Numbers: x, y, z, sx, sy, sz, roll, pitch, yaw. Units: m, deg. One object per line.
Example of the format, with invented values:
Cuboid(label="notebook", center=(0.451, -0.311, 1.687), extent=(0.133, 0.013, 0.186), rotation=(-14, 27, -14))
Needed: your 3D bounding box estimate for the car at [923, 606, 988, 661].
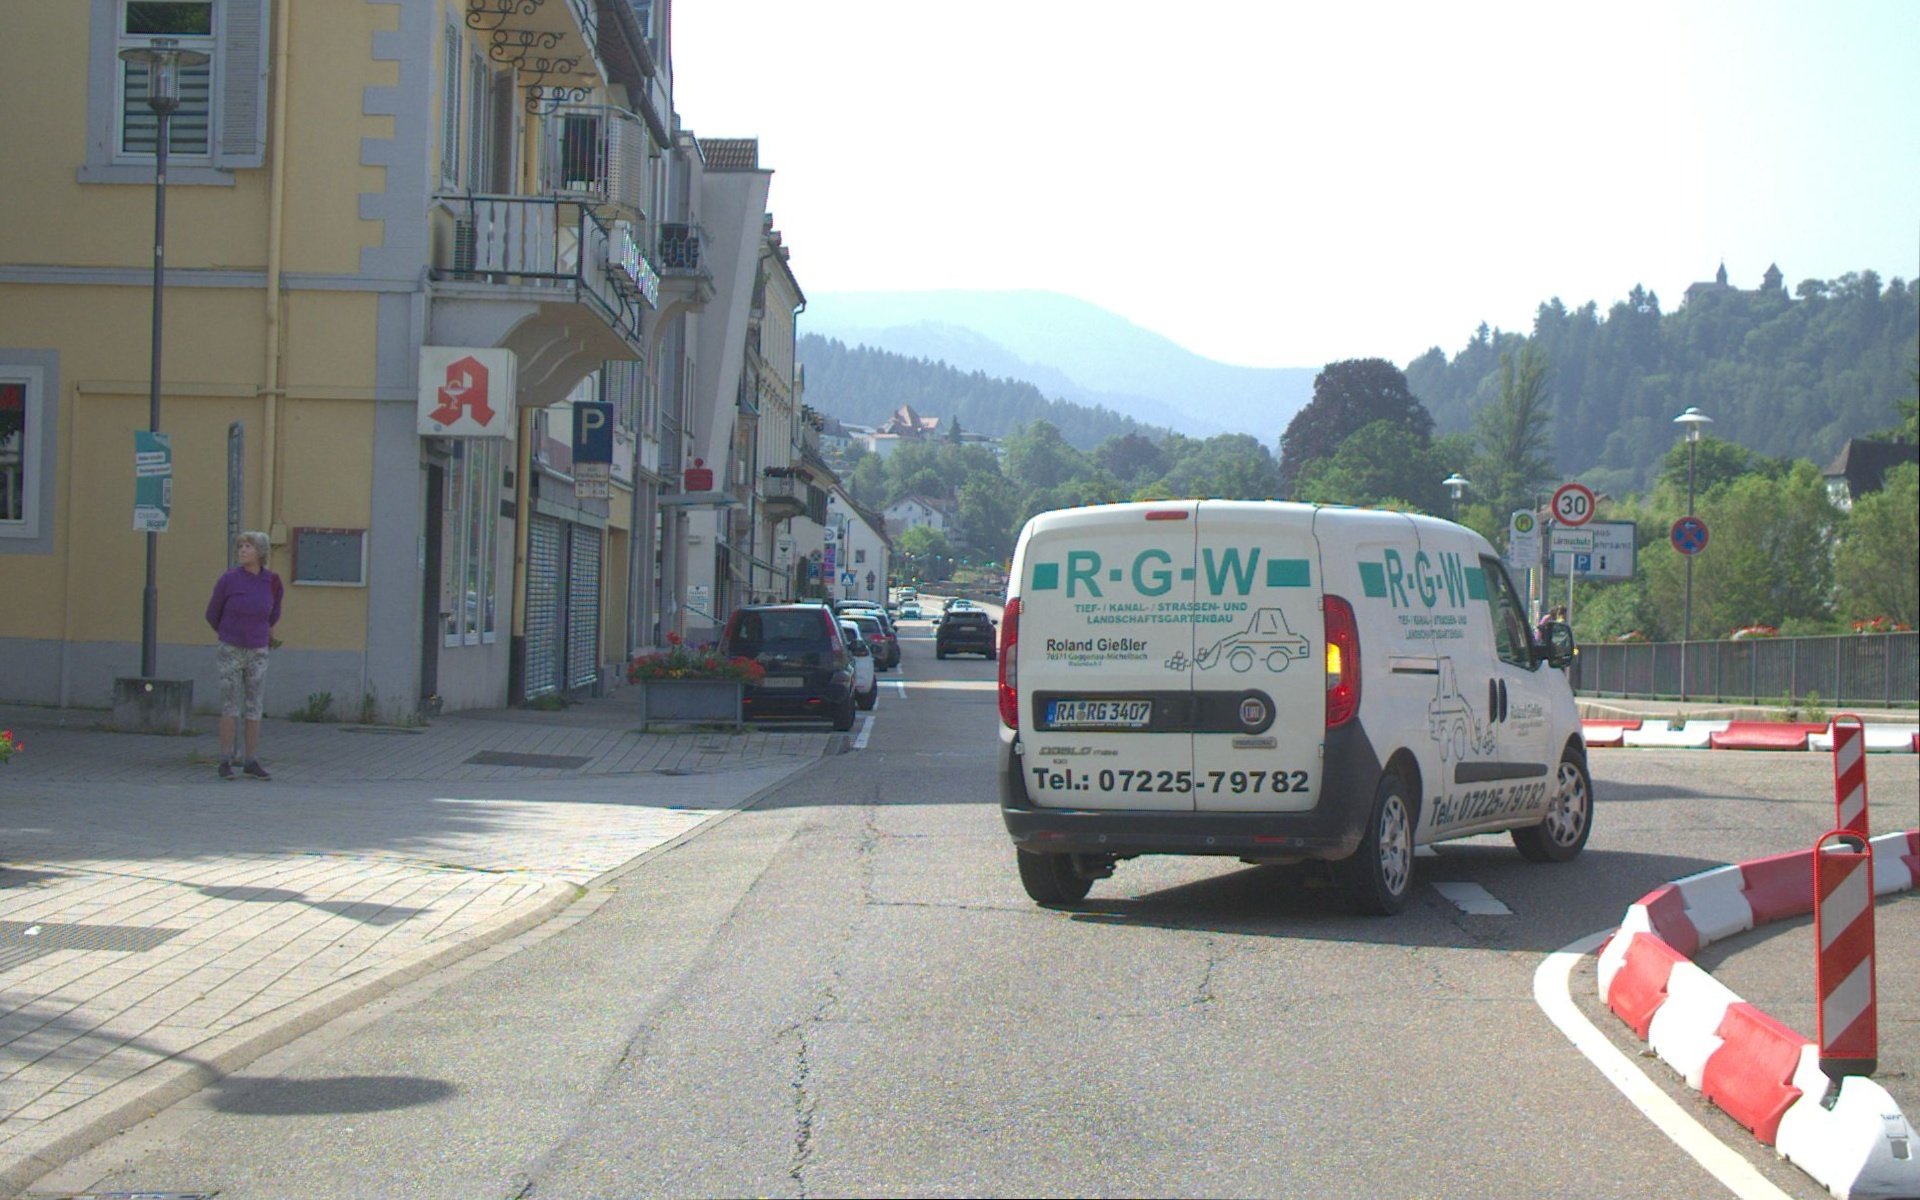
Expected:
Cuboid(label="car", center=(-0.149, 1.063, 110.591), extent=(1.993, 1.656, 4.000), rotation=(2, 0, 0))

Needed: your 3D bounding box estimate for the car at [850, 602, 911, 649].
Cuboid(label="car", center=(-2.120, 0.677, 91.496), extent=(1.563, 1.216, 3.276), rotation=(1, 0, -2))

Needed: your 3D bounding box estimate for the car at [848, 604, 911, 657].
Cuboid(label="car", center=(-2.297, 0.848, 97.664), extent=(1.747, 1.443, 3.276), rotation=(1, 0, -2))

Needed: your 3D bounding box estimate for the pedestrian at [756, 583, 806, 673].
Cuboid(label="pedestrian", center=(-3.424, 0.533, 65.668), extent=(0.690, 1.691, 0.659), rotation=(1, 0, 27))

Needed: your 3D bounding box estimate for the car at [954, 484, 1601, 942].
Cuboid(label="car", center=(1.695, 0.407, 16.761), extent=(1.846, 1.899, 4.309), rotation=(2, 2, 24))

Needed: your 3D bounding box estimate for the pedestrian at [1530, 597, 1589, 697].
Cuboid(label="pedestrian", center=(10.466, 0.816, 60.011), extent=(0.867, 1.700, 0.777), rotation=(2, 0, 1))

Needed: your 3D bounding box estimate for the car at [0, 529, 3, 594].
Cuboid(label="car", center=(-9.110, 0.120, 26.318), extent=(1.918, 1.537, 3.958), rotation=(2, 2, -40))

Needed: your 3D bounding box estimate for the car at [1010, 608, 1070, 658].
Cuboid(label="car", center=(2.859, 1.162, 123.518), extent=(1.993, 1.656, 4.000), rotation=(2, 0, 0))

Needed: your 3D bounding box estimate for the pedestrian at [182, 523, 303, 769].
Cuboid(label="pedestrian", center=(-5.113, 0.319, 24.524), extent=(0.678, 1.709, 0.617), rotation=(2, 1, 1))

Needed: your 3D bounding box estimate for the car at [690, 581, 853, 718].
Cuboid(label="car", center=(-2.241, 0.582, 41.661), extent=(1.846, 1.563, 3.568), rotation=(1, 0, -2))

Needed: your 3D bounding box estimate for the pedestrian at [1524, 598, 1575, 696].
Cuboid(label="pedestrian", center=(10.402, 0.829, 60.677), extent=(0.789, 1.700, 0.491), rotation=(2, 0, 2))

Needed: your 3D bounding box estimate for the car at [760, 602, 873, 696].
Cuboid(label="car", center=(-2.296, 0.766, 55.724), extent=(1.747, 1.443, 3.795), rotation=(1, 0, -2))
